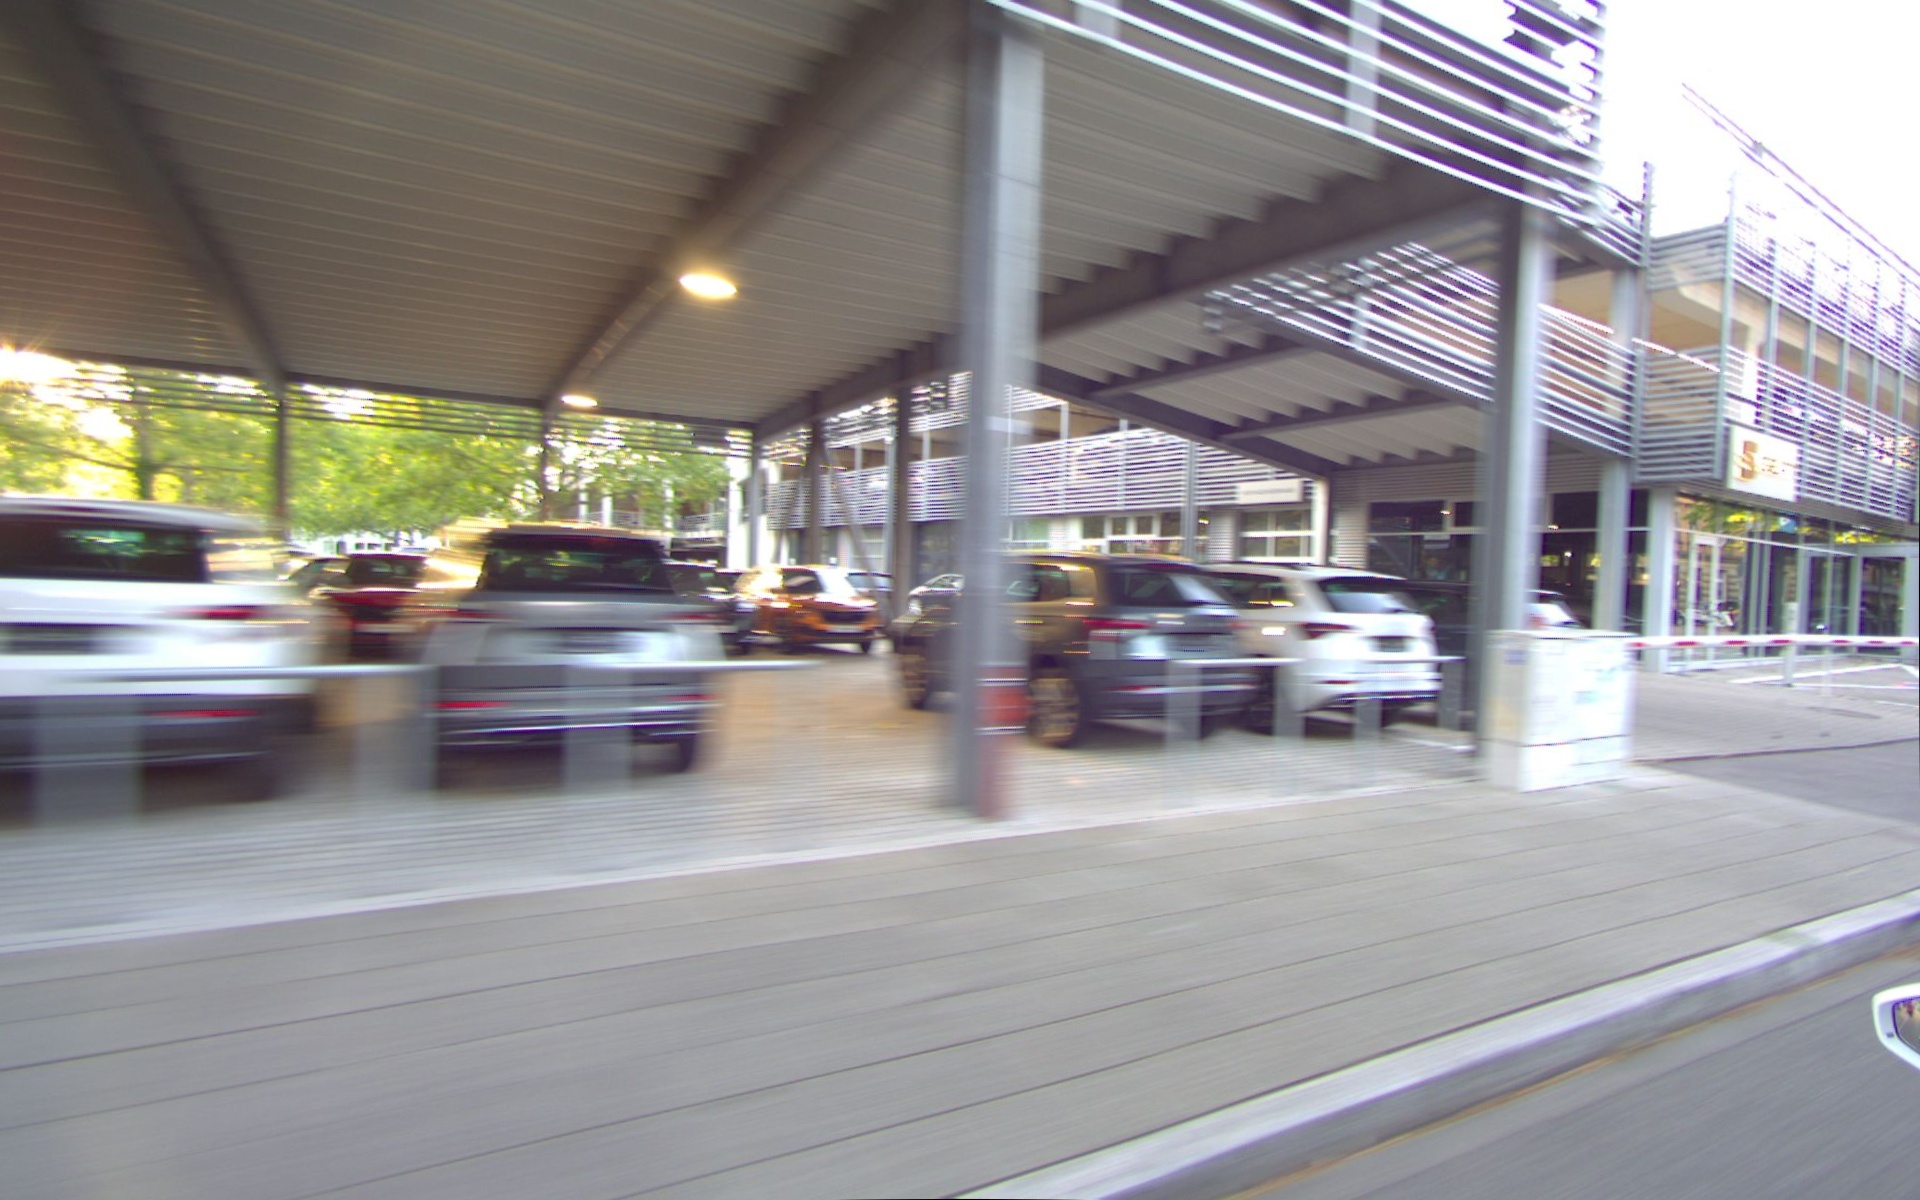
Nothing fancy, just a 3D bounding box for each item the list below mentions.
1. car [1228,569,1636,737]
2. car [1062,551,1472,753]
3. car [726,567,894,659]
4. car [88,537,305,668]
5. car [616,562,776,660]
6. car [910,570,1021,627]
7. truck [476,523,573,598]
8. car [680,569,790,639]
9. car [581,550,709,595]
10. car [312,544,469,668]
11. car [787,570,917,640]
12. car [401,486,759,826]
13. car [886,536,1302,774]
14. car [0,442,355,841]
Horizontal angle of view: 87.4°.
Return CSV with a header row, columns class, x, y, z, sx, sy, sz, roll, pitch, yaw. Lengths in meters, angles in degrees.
class,x,y,z,sx,sy,sz,roll,pitch,yaw
car,5.331,0.501,11.863,1.839,1.607,3.966,3,0,-31
car,2.991,0.383,10.705,1.837,1.706,4.062,0,2,-28
car,-2.928,0.156,18.822,1.807,1.515,4.212,0,2,-28
car,-10.659,-0.029,14.344,1.837,1.579,3.970,0,2,-28
car,-4.758,0.109,17.683,1.837,1.515,4.034,0,2,-28
car,0.110,-0.109,31.343,1.670,1.493,3.805,-3,5,-33
truck,-16.992,-1.520,38.939,2.418,2.603,6.878,1,2,-32
car,-5.250,0.051,23.142,1.577,1.445,3.434,1,2,-29
car,-12.363,-1.086,39.444,4.342,1.595,2.282,1,2,-34
car,-8.612,0.021,15.366,1.837,1.618,4.018,0,2,-28
car,-2.763,0.069,24.912,1.837,1.575,3.963,0,2,-28
car,-2.949,0.225,7.270,1.837,1.706,4.047,0,2,-28
car,0.972,0.333,9.423,1.837,1.706,4.069,0,2,-28
car,-4.916,0.119,6.163,1.837,1.706,4.085,0,2,-28
